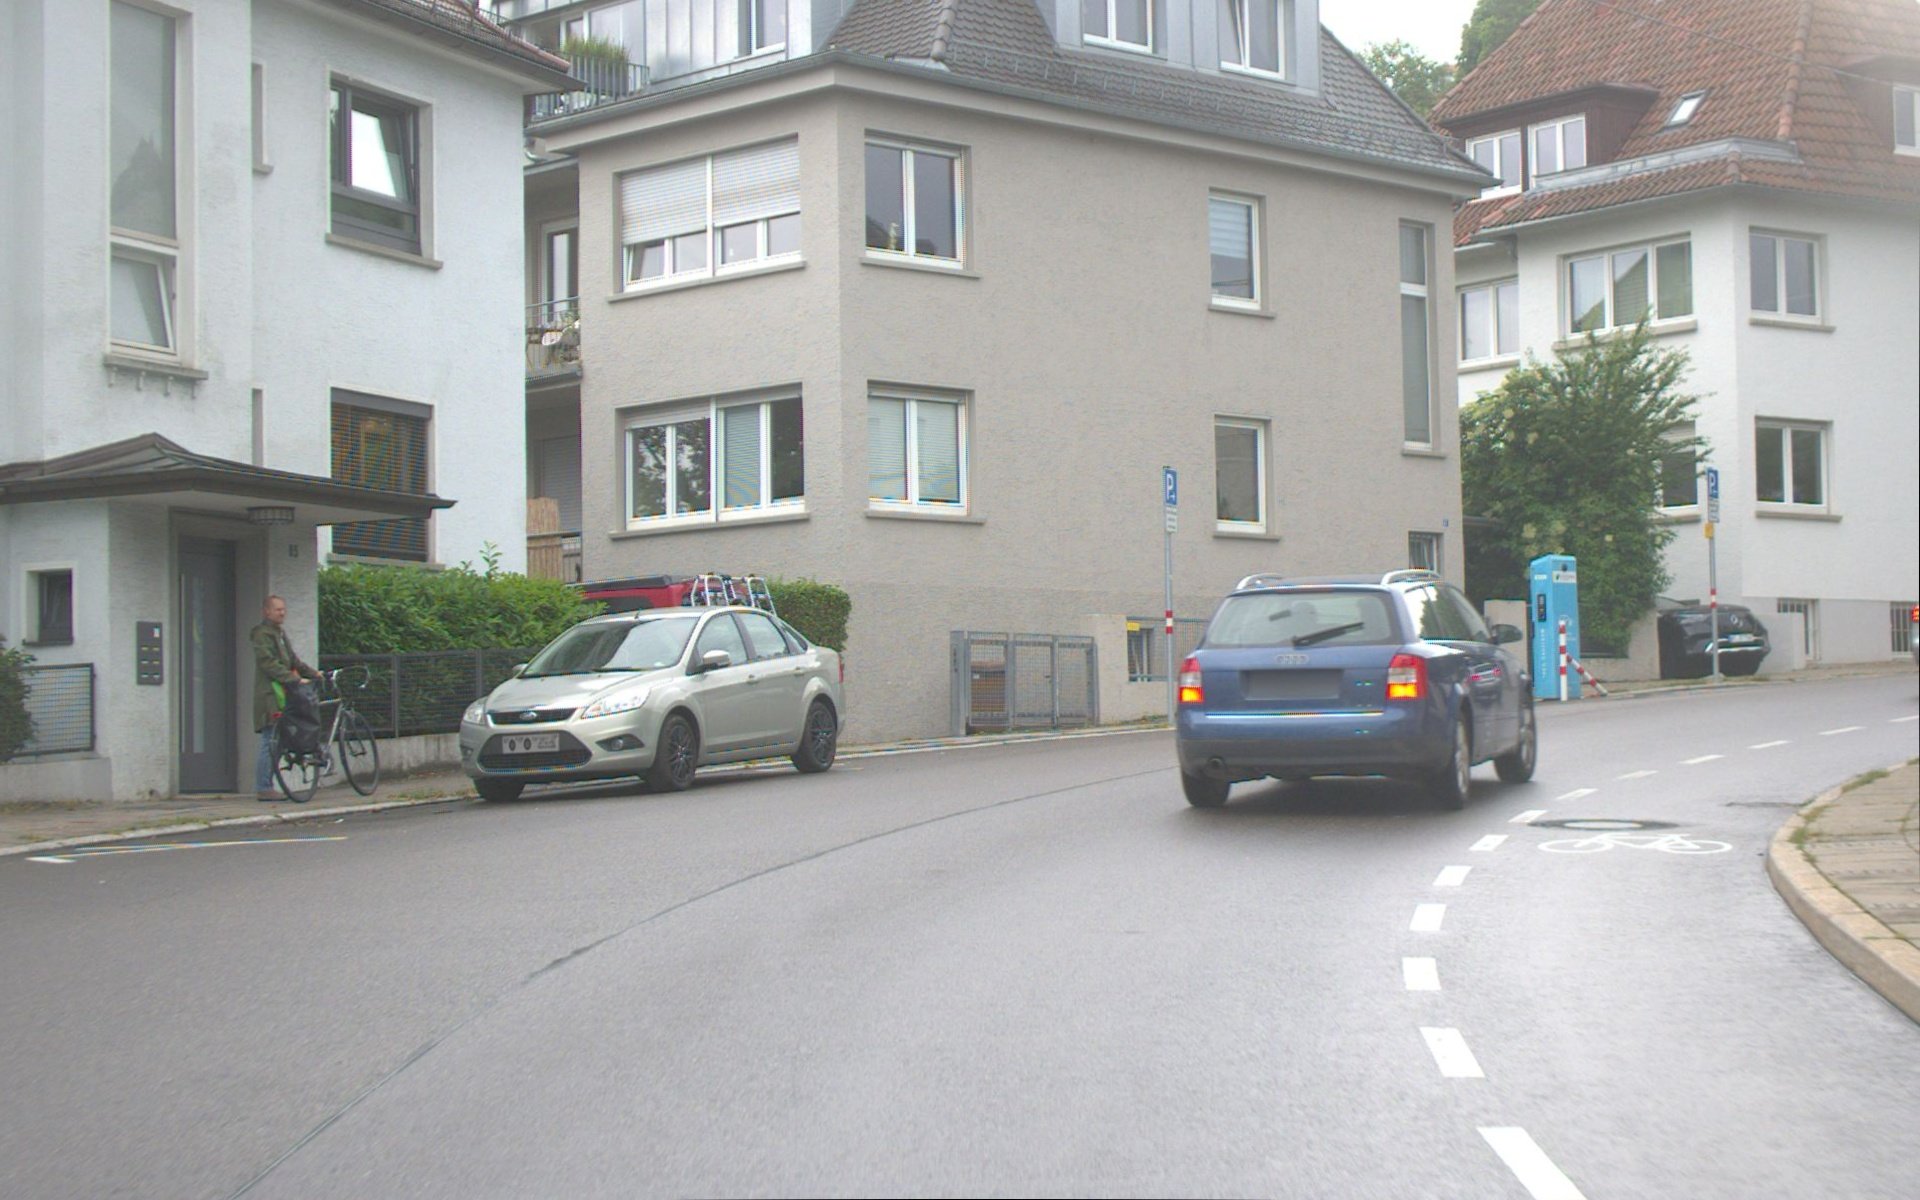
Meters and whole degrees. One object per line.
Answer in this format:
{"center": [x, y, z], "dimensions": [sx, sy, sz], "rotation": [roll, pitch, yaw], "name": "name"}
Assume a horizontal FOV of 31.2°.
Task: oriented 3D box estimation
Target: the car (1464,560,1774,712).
{"center": [9.910, 0.566, 51.986], "dimensions": [1.994, 1.618, 4.252], "rotation": [-2, -8, -35], "name": "car"}

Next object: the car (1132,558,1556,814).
{"center": [2.560, 0.490, 22.019], "dimensions": [1.813, 1.434, 4.077], "rotation": [-3, 0, 19], "name": "car"}

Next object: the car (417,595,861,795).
{"center": [-2.546, 0.737, 28.357], "dimensions": [1.838, 1.420, 4.225], "rotation": [-3, 0, 22], "name": "car"}

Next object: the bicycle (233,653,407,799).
{"center": [-5.070, 0.987, 27.355], "dimensions": [0.456, 1.063, 1.920], "rotation": [-1, 0, 19], "name": "bicycle"}

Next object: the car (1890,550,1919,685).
{"center": [11.418, 0.214, 35.701], "dimensions": [1.816, 1.356, 3.990], "rotation": [0, -1, 41], "name": "car"}

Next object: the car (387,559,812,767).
{"center": [-3.900, 0.680, 37.142], "dimensions": [3.993, 1.817, 1.997], "rotation": [-7, -2, 28], "name": "car"}

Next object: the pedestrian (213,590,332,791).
{"center": [-5.502, 0.716, 27.557], "dimensions": [0.493, 1.572, 0.947], "rotation": [-1, 0, 19], "name": "pedestrian"}
